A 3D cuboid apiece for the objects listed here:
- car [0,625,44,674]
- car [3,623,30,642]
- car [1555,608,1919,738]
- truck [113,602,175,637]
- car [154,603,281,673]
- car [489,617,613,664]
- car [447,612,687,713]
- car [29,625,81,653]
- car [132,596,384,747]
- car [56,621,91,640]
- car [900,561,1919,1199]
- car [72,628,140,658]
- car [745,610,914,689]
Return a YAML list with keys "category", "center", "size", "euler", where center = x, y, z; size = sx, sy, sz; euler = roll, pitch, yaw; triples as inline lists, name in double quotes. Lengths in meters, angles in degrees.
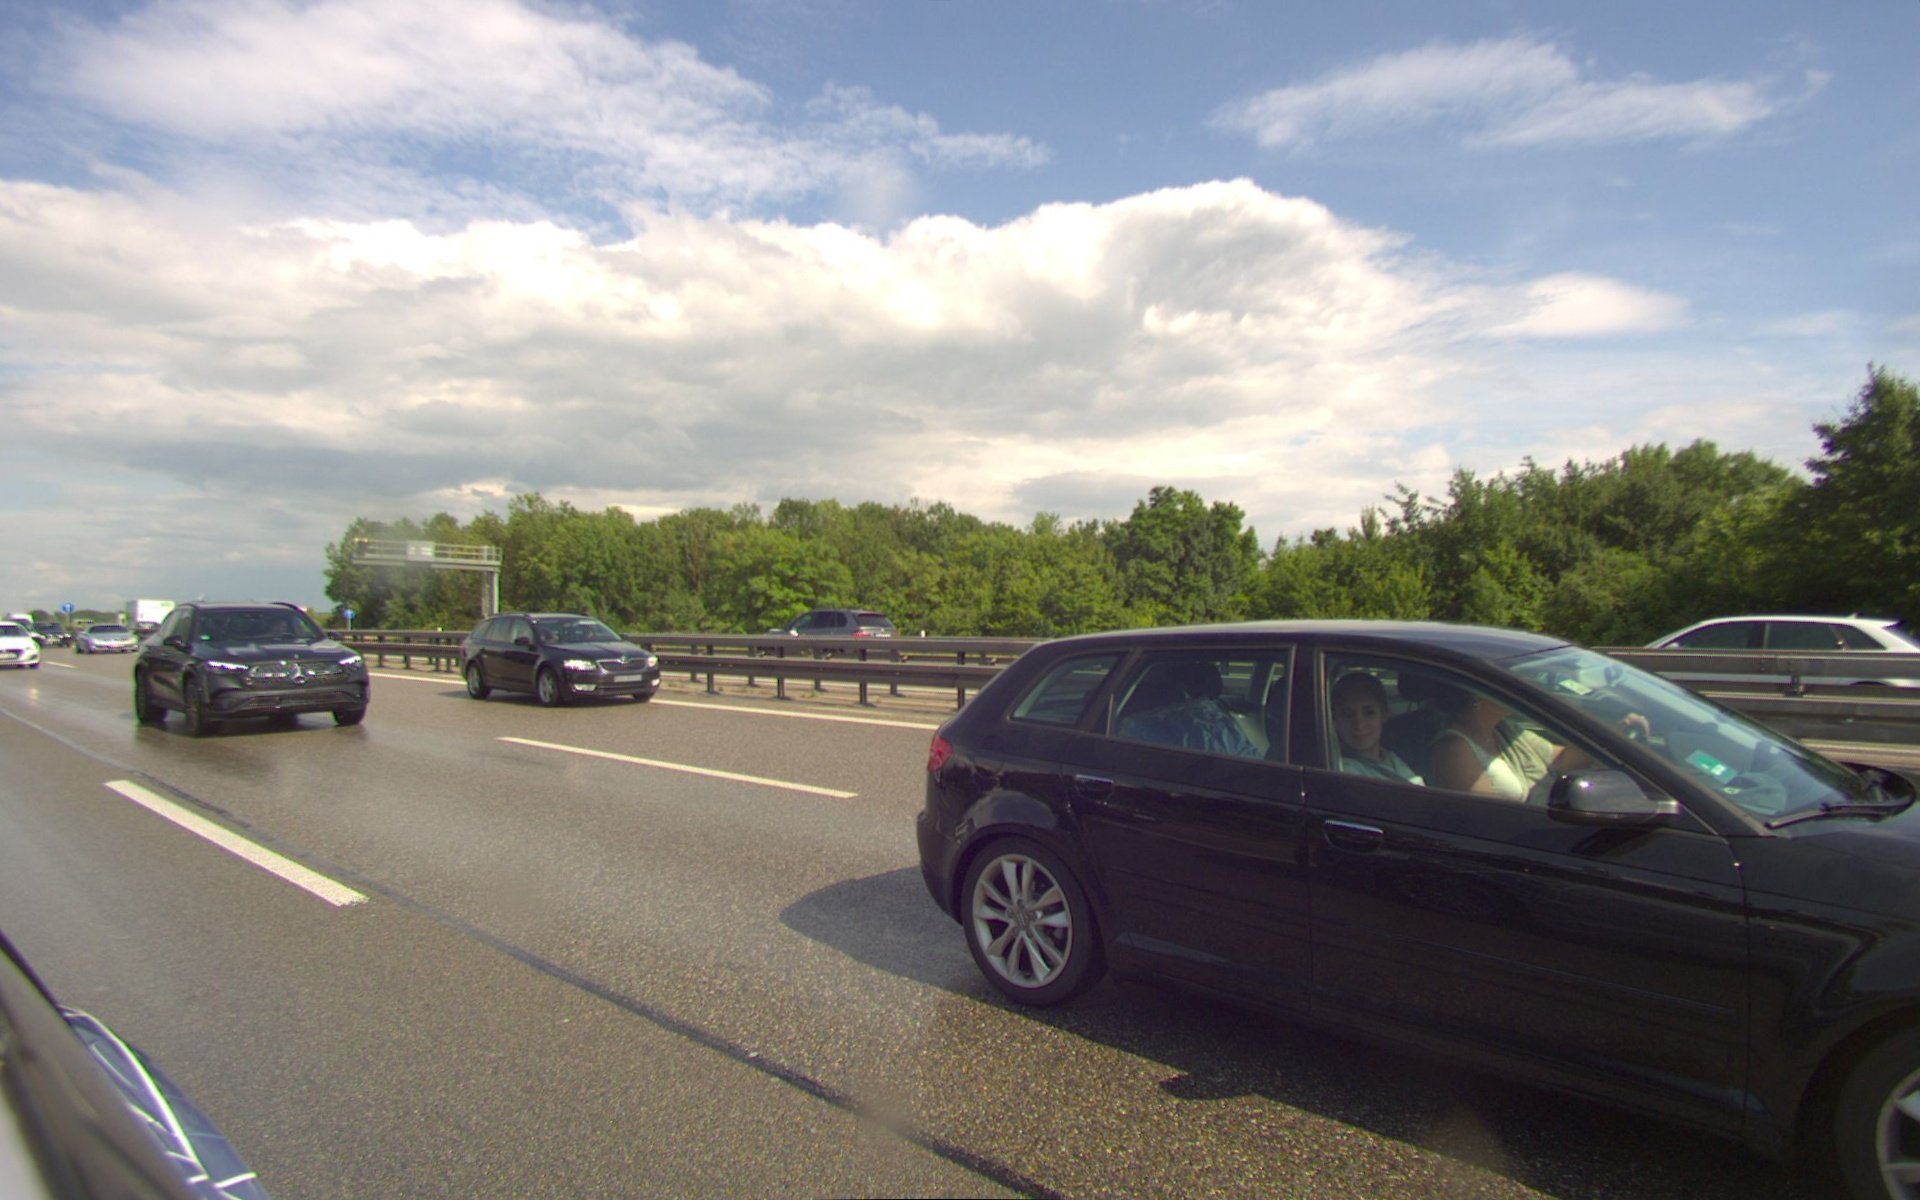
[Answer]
- category: "car"
  center: [-29.819, 1.500, 31.287]
  size: [4.239, 1.408, 1.785]
  euler: [-1, -1, 42]
- category: "car"
  center: [-126.142, 4.333, 135.273]
  size: [6.099, 2.414, 2.092]
  euler: [-1, -1, 41]
- category: "car"
  center: [9.969, 0.827, 12.808]
  size: [3.995, 1.401, 1.844]
  euler: [-1, 0, 39]
- category: "truck"
  center: [-74.041, 1.759, 91.792]
  size: [8.717, 3.009, 2.886]
  euler: [-1, 0, 41]
- category: "car"
  center: [-22.460, 1.105, 30.526]
  size: [5.232, 1.932, 1.973]
  euler: [-1, -1, 40]
- category: "car"
  center: [-13.032, 1.252, 32.136]
  size: [4.492, 1.364, 1.848]
  euler: [-1, -1, 42]
- category: "car"
  center: [-6.619, 0.946, 16.816]
  size: [4.370, 1.435, 1.900]
  euler: [-1, -1, 41]
- category: "car"
  center: [-48.670, 2.065, 54.387]
  size: [3.998, 1.431, 1.597]
  euler: [-1, -1, 41]
- category: "car"
  center: [-9.562, 0.835, 13.622]
  size: [4.626, 1.692, 1.856]
  euler: [-1, -1, 43]
- category: "car"
  center: [-83.582, 2.861, 95.400]
  size: [4.242, 1.655, 1.748]
  euler: [-1, -1, 39]
- category: "car"
  center: [1.832, 0.658, 3.287]
  size: [4.054, 1.444, 1.731]
  euler: [-1, -1, 43]
- category: "car"
  center: [-36.933, 1.843, 43.753]
  size: [3.583, 1.198, 1.832]
  euler: [-1, -1, 43]
- category: "car"
  center: [-3.778, 1.331, 28.735]
  size: [5.074, 2.029, 1.832]
  euler: [-1, 0, 40]
